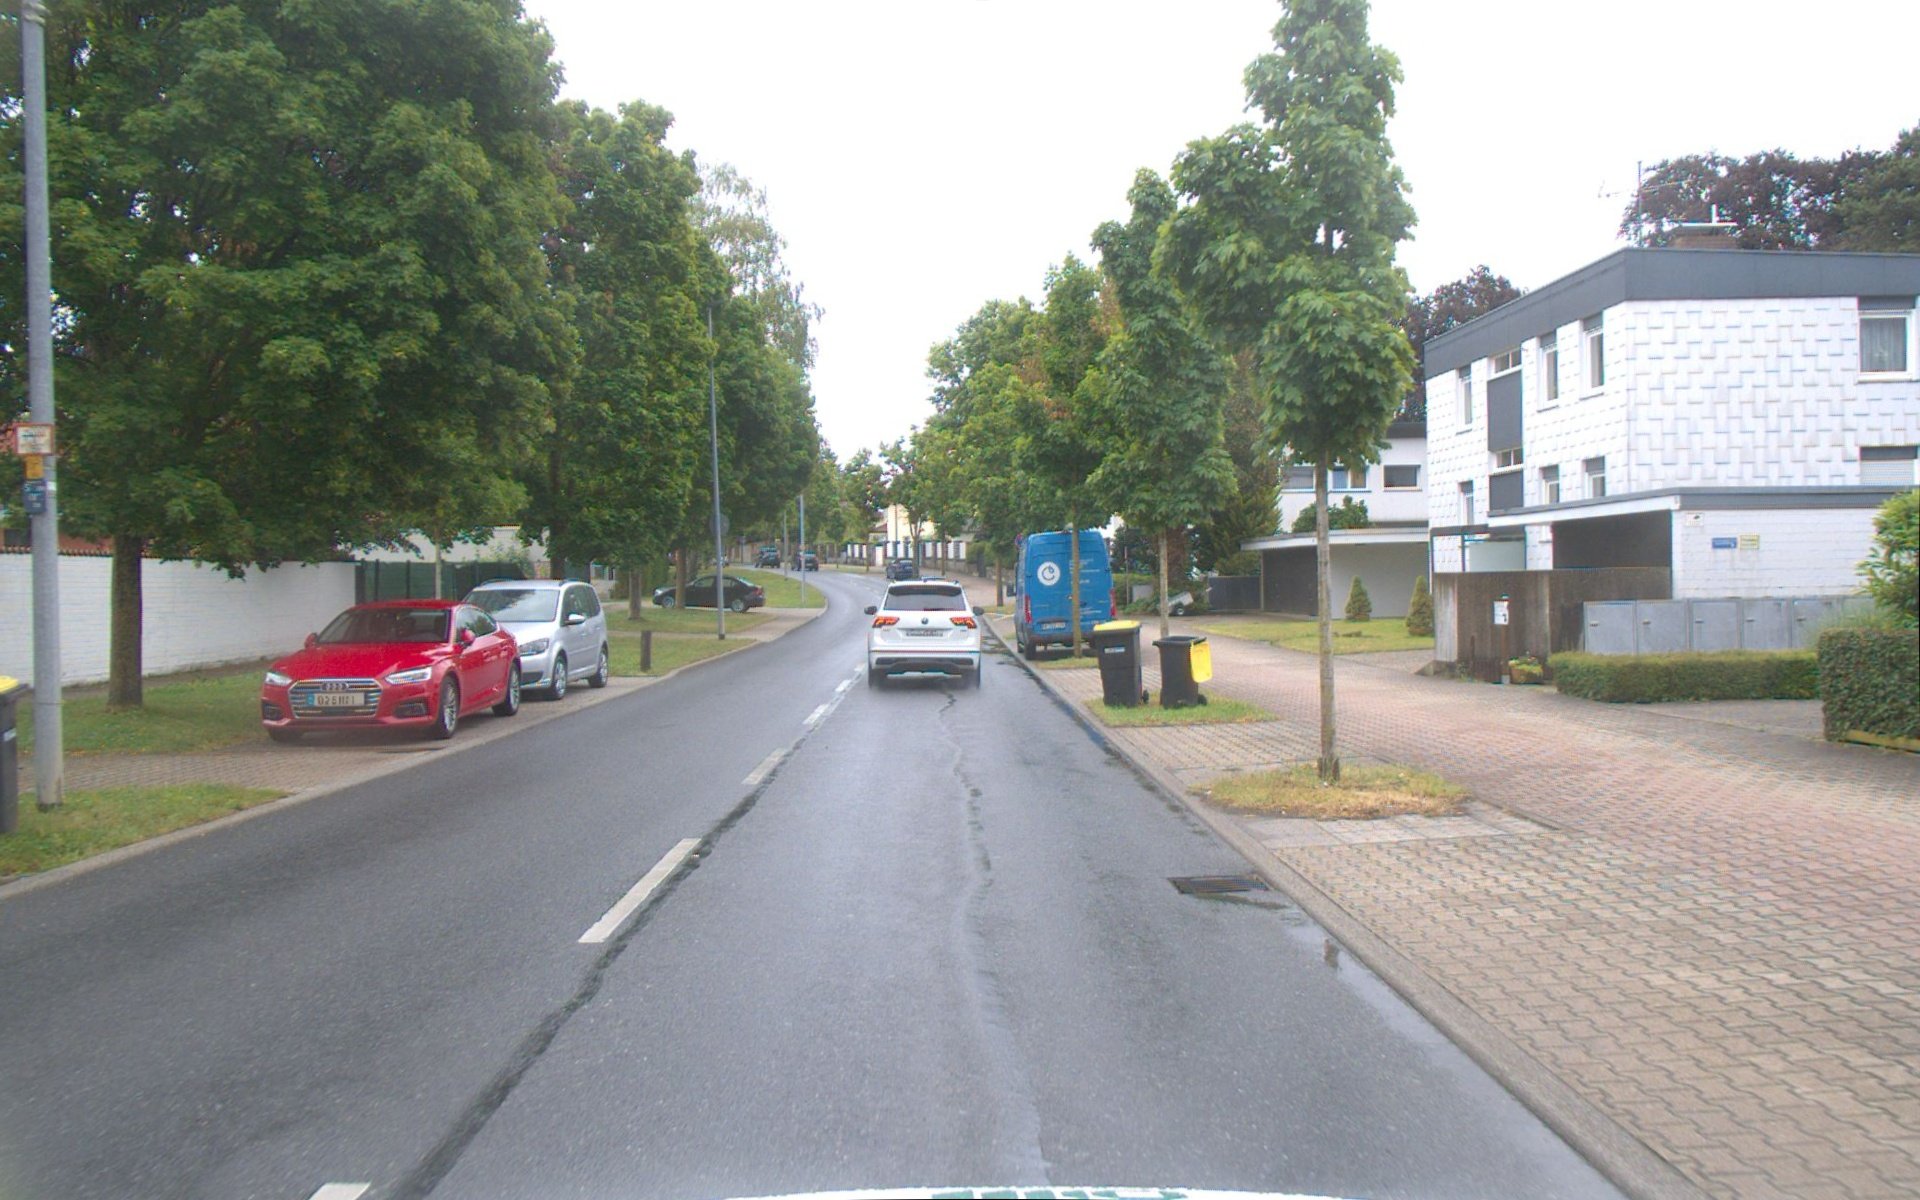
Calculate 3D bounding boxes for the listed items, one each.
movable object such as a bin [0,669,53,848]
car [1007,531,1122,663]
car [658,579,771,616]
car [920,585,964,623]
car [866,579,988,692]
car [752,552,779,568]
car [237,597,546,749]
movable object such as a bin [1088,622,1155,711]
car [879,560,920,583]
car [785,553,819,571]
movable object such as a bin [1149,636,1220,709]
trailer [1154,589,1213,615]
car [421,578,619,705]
[{"bbox_3d":[-5.599,0.893,9.416,0.546,0.970,0.550,-1,0,2],"label":"movable object such as a bin"},{"bbox_3d":[2.244,-0.095,36.881,1.953,2.631,5.632,-3,1,-1],"label":"car"},{"bbox_3d":[-9.667,-0.109,65.237,4.130,1.386,1.691,1,0,3],"label":"car"},{"bbox_3d":[-0.808,0.167,72.824,1.734,1.578,3.997,-1,0,-3],"label":"car"},{"bbox_3d":[-0.607,0.547,27.323,1.828,1.679,3.997,-2,0,-3],"label":"car"},{"bbox_3d":[-17.422,-3.593,147.970,1.617,1.452,3.980,0,2,-18],"label":"car"},{"bbox_3d":[-6.090,0.700,18.346,1.953,1.428,4.555,-1,0,-2],"label":"car"},{"bbox_3d":[2.013,0.821,20.594,0.602,1.032,0.562,-6,-1,24],"label":"movable object such as a bin"},{"bbox_3d":[-4.064,-1.923,110.884,1.618,1.452,3.977,0,2,-20],"label":"car"},{"bbox_3d":[-12.708,-3.061,132.916,1.620,1.452,3.973,0,2,-22],"label":"car"},{"bbox_3d":[2.704,0.866,19.912,0.646,0.814,0.600,-4,-1,24],"label":"movable object such as a bin"},{"bbox_3d":[8.072,0.068,59.901,2.000,0.899,1.365,1,1,2],"label":"trailer"},{"bbox_3d":[-6.236,0.529,23.915,1.720,1.656,4.232,-1,0,0],"label":"car"}]
